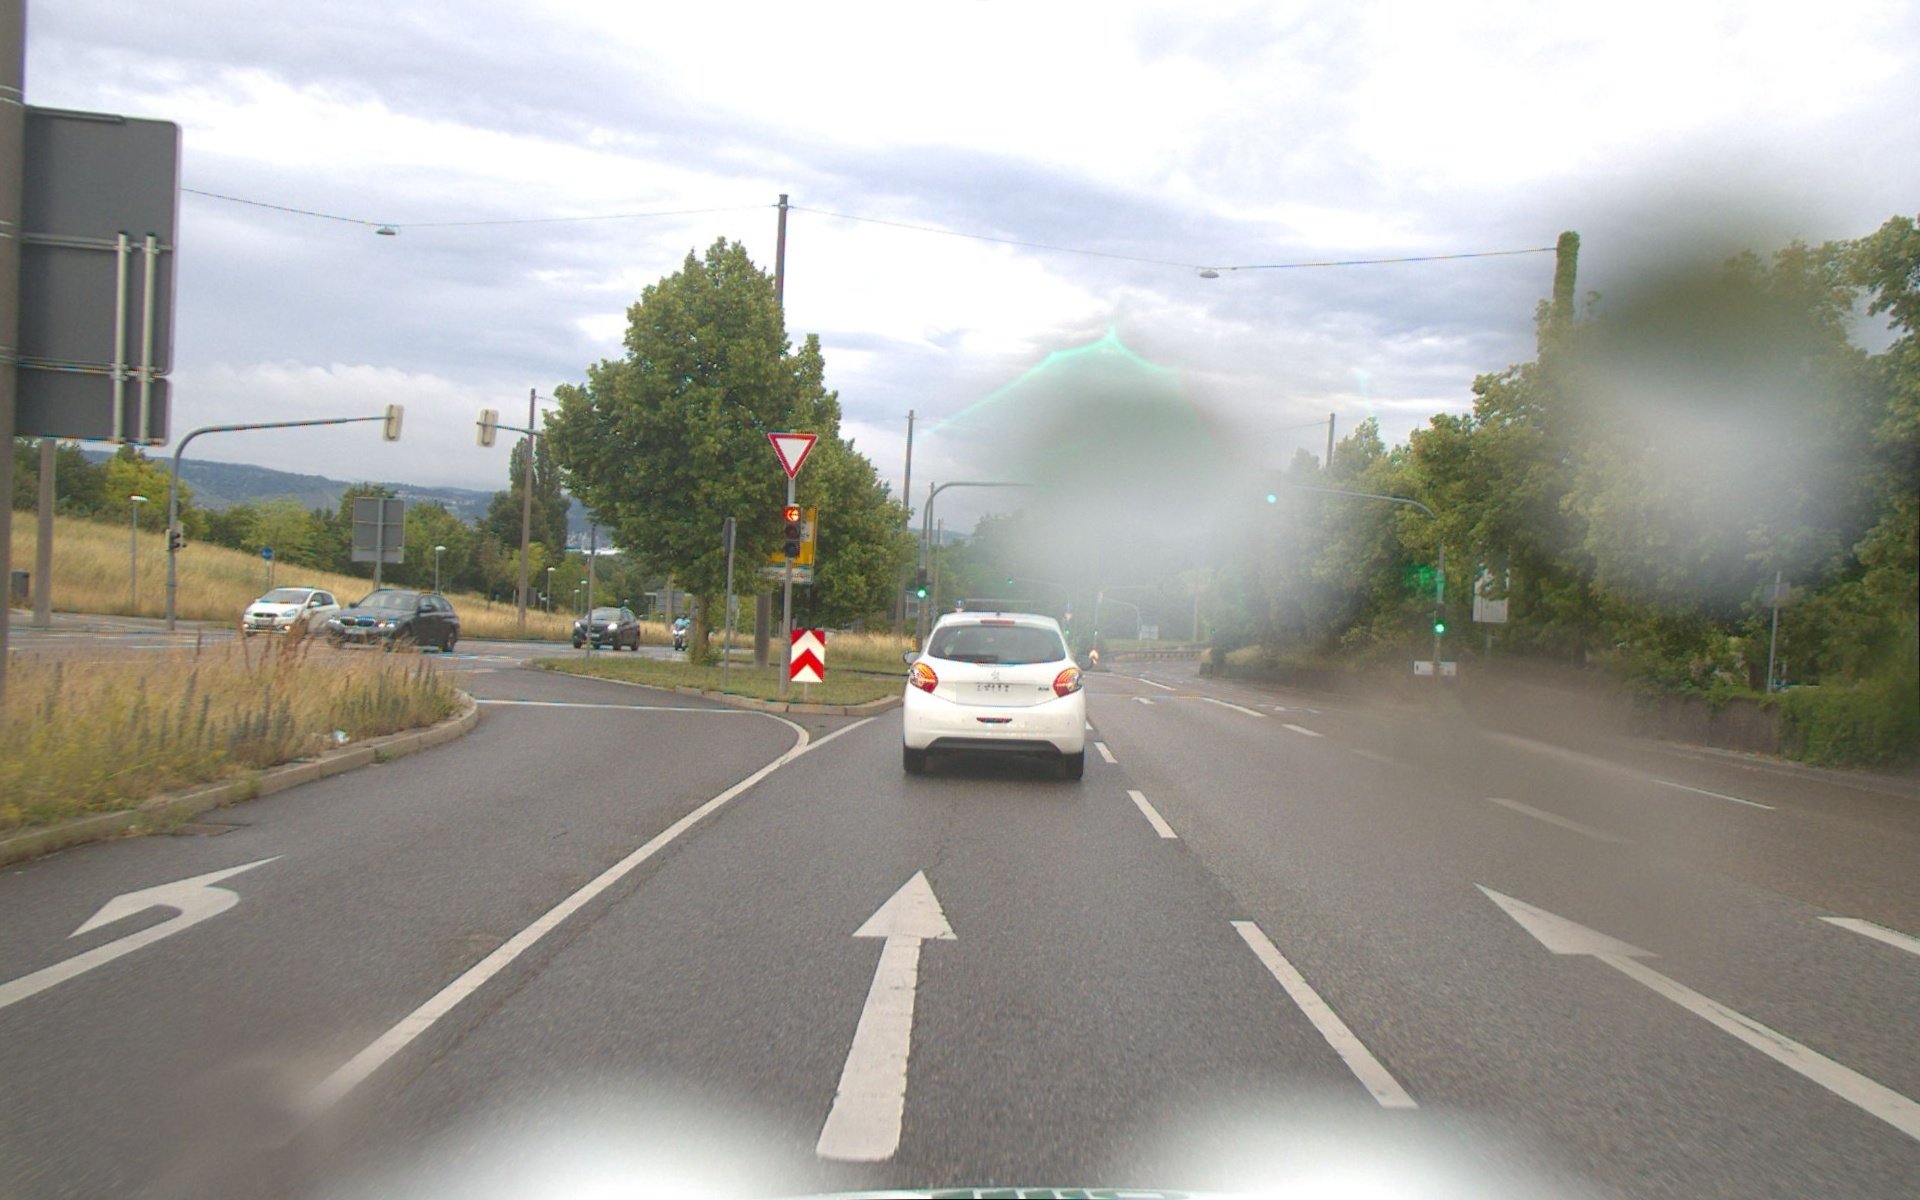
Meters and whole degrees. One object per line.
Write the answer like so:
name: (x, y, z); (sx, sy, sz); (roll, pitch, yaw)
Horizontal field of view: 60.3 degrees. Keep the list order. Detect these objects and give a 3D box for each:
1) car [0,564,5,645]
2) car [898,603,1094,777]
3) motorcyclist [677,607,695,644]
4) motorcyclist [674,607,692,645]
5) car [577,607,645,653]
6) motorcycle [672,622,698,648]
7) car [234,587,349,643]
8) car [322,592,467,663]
car: (-20.400, 0.004, 31.536); (1.731, 1.677, 4.178); (3, -2, 3)
car: (0.386, 0.806, 16.136); (1.673, 1.465, 3.691); (1, -1, 2)
motorcyclist: (-12.091, 1.132, 72.978); (0.599, 1.609, 0.582); (3, 0, 2)
motorcyclist: (-12.095, 1.125, 72.295); (0.570, 1.624, 0.643); (3, 0, 2)
car: (-12.787, 1.125, 60.740); (1.506, 1.530, 3.663); (3, -2, 3)
motorcycle: (-12.110, 1.522, 72.830); (0.604, 1.068, 2.503); (3, 0, 2)
car: (-19.622, 0.478, 48.716); (1.617, 1.488, 3.775); (3, -2, 3)
car: (-13.545, 0.675, 39.920); (1.714, 1.530, 4.465); (3, -1, 3)
